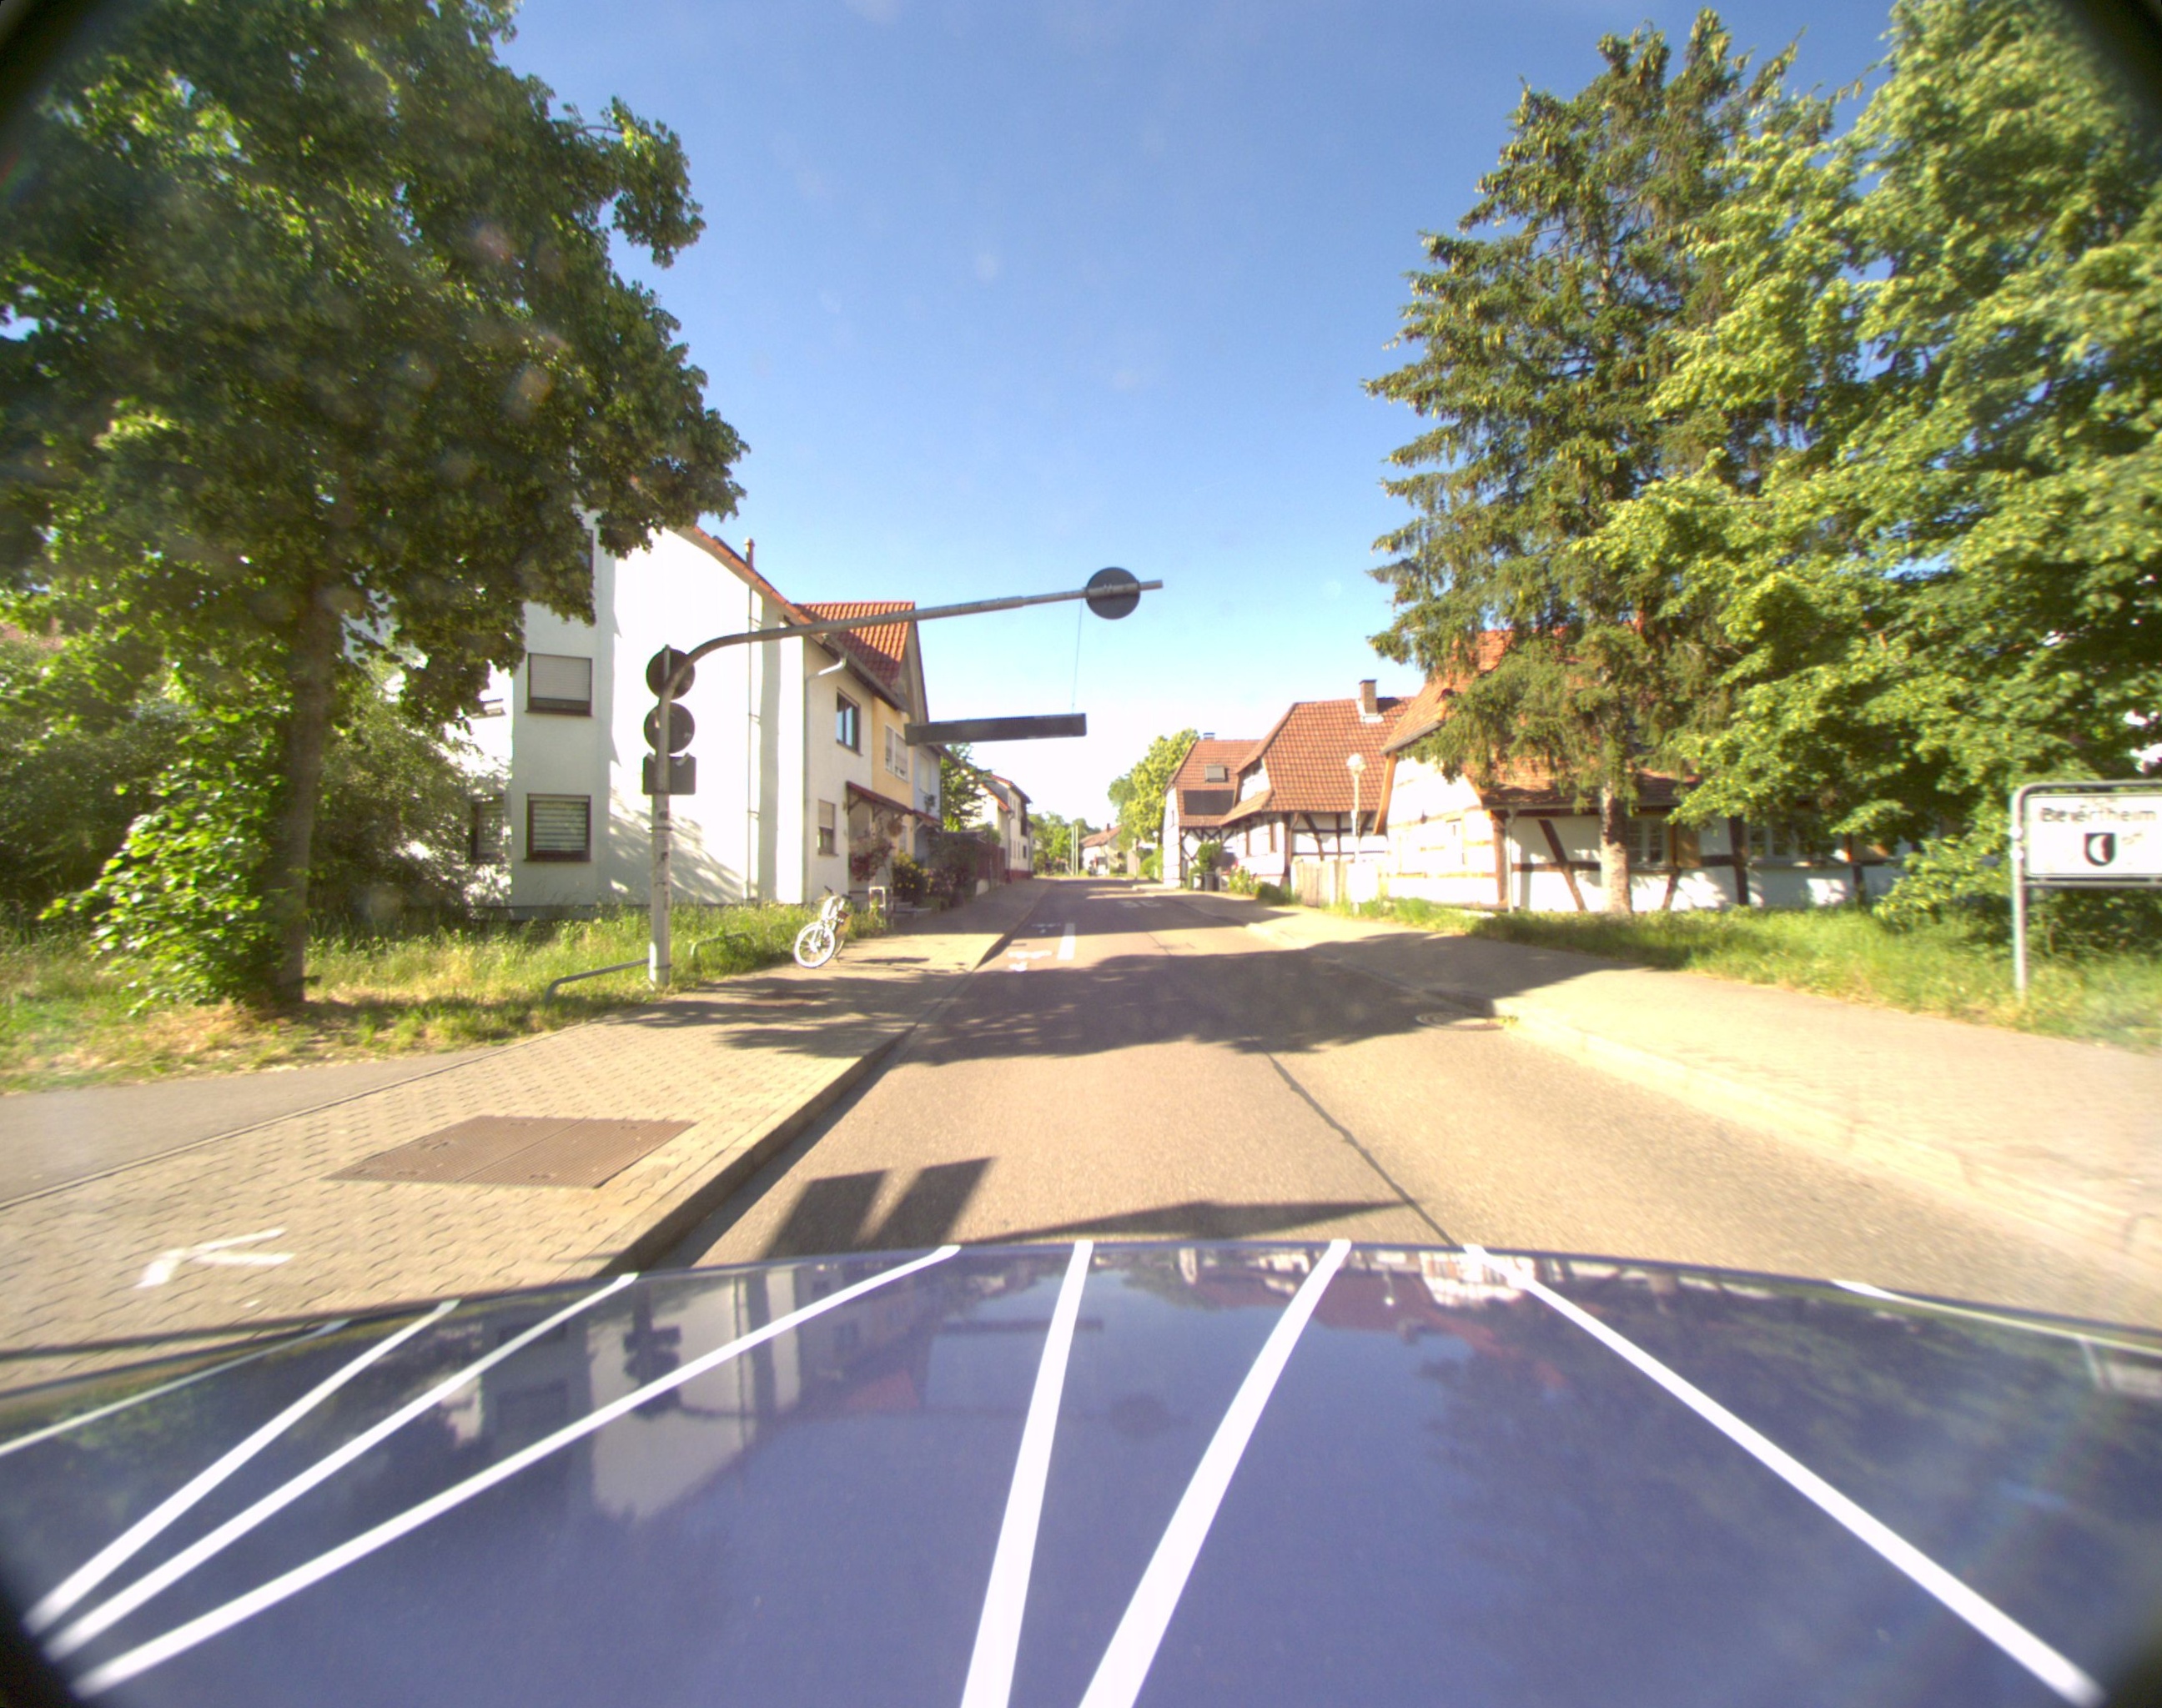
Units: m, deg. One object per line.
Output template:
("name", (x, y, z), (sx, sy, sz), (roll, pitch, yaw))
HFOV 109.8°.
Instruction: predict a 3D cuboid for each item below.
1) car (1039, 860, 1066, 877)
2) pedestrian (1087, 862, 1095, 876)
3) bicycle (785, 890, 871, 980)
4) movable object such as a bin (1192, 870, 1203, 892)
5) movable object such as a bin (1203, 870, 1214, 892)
("car", (-3.249, 1.642, 85.842), (1.967, 1.908, 4.572), (-1, -1, -15))
("pedestrian", (1.337, 1.943, 100.888), (0.716, 1.792, 0.772), (-1, 1, 29))
("bicycle", (-3.739, 1.162, 11.353), (0.690, 1.150, 1.539), (4, -1, 0))
("movable object such as a bin", (6.158, 1.440, 40.099), (0.477, 1.133, 0.667), (0, 0, 0))
("movable object such as a bin", (6.736, 1.436, 40.108), (0.477, 1.133, 0.667), (0, 0, 0))
